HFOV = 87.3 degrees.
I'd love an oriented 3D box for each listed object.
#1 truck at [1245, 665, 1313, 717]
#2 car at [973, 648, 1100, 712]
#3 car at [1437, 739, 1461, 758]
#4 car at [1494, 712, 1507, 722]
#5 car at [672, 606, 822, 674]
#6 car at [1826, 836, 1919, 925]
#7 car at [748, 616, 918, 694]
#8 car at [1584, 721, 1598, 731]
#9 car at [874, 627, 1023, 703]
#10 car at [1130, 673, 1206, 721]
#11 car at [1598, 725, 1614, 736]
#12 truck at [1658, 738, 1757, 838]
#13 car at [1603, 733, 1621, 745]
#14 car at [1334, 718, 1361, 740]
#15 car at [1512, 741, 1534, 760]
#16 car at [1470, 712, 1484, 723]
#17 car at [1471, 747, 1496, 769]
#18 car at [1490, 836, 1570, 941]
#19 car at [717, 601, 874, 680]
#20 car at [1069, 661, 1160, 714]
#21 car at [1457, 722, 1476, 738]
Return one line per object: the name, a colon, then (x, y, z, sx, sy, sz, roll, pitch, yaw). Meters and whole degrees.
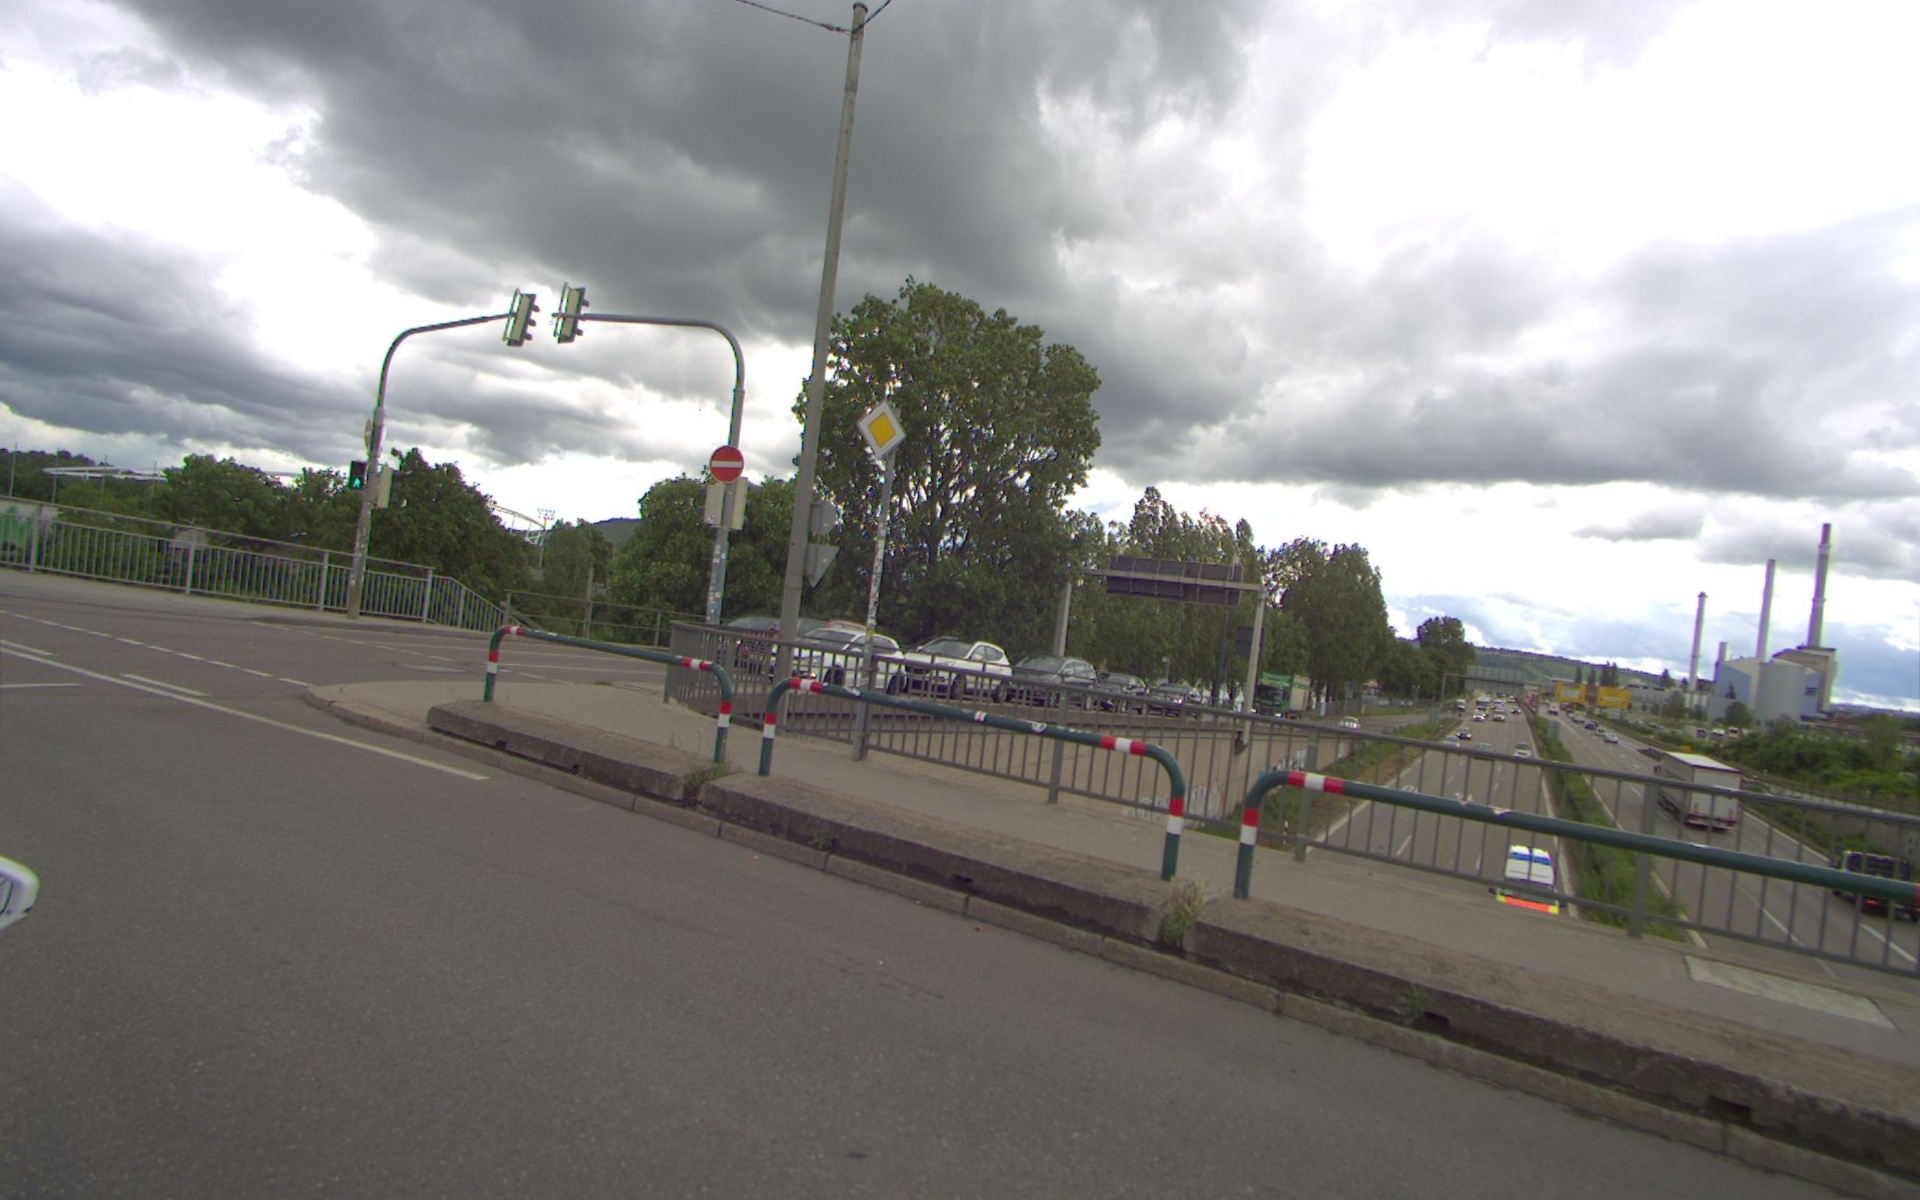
truck: (25.606, 7.284, 80.449, 2.736, 3.552, 9.242, 7, -1, 31)
car: (2.591, 2.634, 32.526, 1.967, 1.637, 4.959, 5, -4, 31)
car: (52.342, 15.875, 107.671, 1.966, 1.725, 4.077, 5, -3, 30)
car: (105.010, 22.713, 195.484, 1.966, 1.725, 4.077, 5, -3, 30)
car: (-5.857, 1.169, 28.171, 1.667, 1.436, 4.152, 5, -4, 29)
car: (40.226, 12.149, 43.758, 2.875, 2.527, 7.264, 5, -3, 34)
car: (-2.731, 1.270, 22.514, 1.761, 1.327, 3.763, 5, -4, 30)
car: (134.317, 26.745, 214.103, 1.965, 1.755, 3.997, 5, -3, 27)
car: (-0.221, 1.835, 27.636, 1.967, 1.637, 4.339, 5, -4, 31)
car: (9.397, 4.283, 45.167, 1.967, 1.640, 3.987, 7, 3, 31)
car: (121.497, 24.588, 189.335, 1.965, 1.755, 3.997, 5, -3, 27)
truck: (50.753, 12.500, 68.719, 3.528, 4.545, 13.144, 7, 2, 30)
car: (108.541, 23.157, 167.525, 1.965, 1.755, 3.996, 5, -3, 27)
car: (39.737, 13.202, 103.088, 1.965, 1.691, 3.763, 7, 2, 27)
car: (61.144, 16.301, 109.294, 1.966, 1.725, 4.077, 5, -3, 30)
car: (96.431, 21.977, 187.516, 1.966, 1.725, 4.077, 5, -3, 30)
car: (53.295, 16.063, 102.407, 1.966, 1.725, 4.077, 5, -3, 30)
car: (18.878, 9.439, 33.371, 1.966, 2.397, 4.587, 5, -3, 30)
car: (-4.108, 1.091, 25.766, 1.667, 1.556, 4.006, 5, -4, 30)
car: (6.018, 3.404, 38.837, 1.967, 1.635, 3.997, 5, -4, 31)
car: (65.901, 16.931, 130.876, 1.966, 1.725, 4.077, 5, -3, 30)
